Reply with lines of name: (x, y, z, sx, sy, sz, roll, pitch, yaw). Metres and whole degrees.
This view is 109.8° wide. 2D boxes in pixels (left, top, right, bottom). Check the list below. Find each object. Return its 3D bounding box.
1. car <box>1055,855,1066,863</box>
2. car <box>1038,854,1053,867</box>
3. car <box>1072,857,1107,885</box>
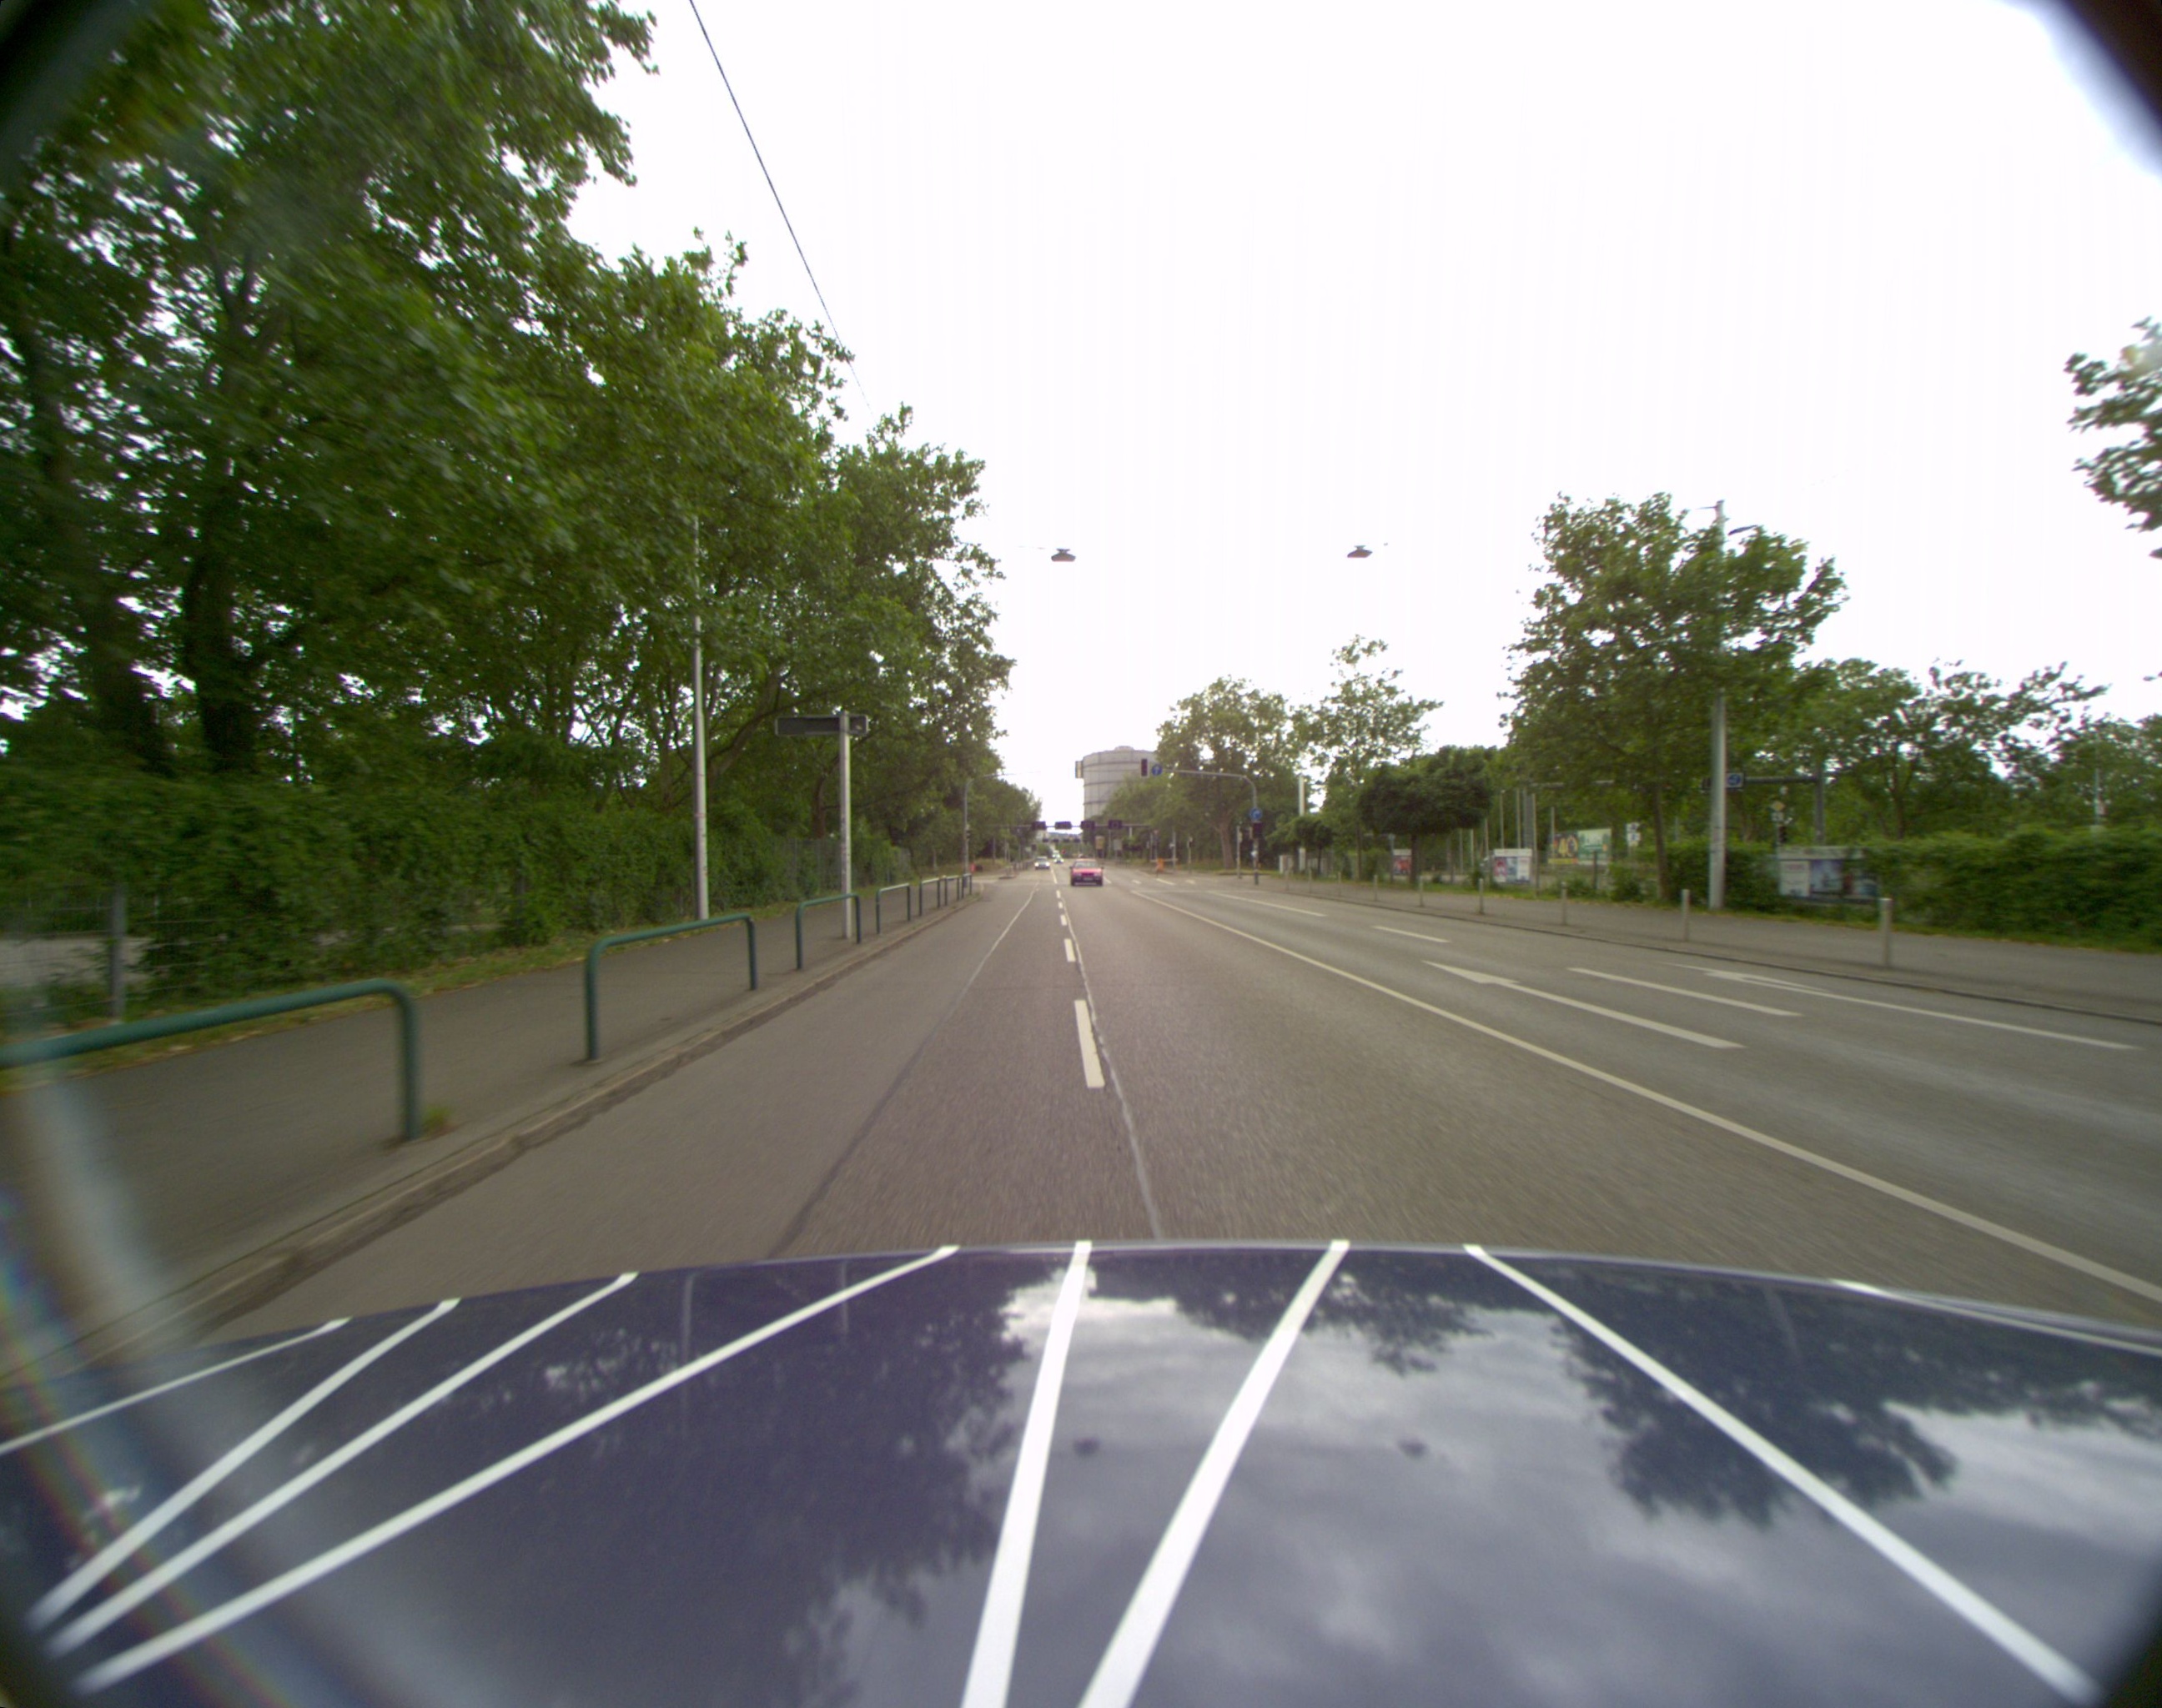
car: (-4.468, 1.056, 165.815, 1.998, 1.792, 4.000, -3, 0, 1)
car: (-4.462, 0.819, 95.247, 1.771, 1.565, 3.999, 0, 0, -2)
car: (0.421, 0.926, 41.487, 1.696, 1.434, 4.000, 1, -1, -2)
